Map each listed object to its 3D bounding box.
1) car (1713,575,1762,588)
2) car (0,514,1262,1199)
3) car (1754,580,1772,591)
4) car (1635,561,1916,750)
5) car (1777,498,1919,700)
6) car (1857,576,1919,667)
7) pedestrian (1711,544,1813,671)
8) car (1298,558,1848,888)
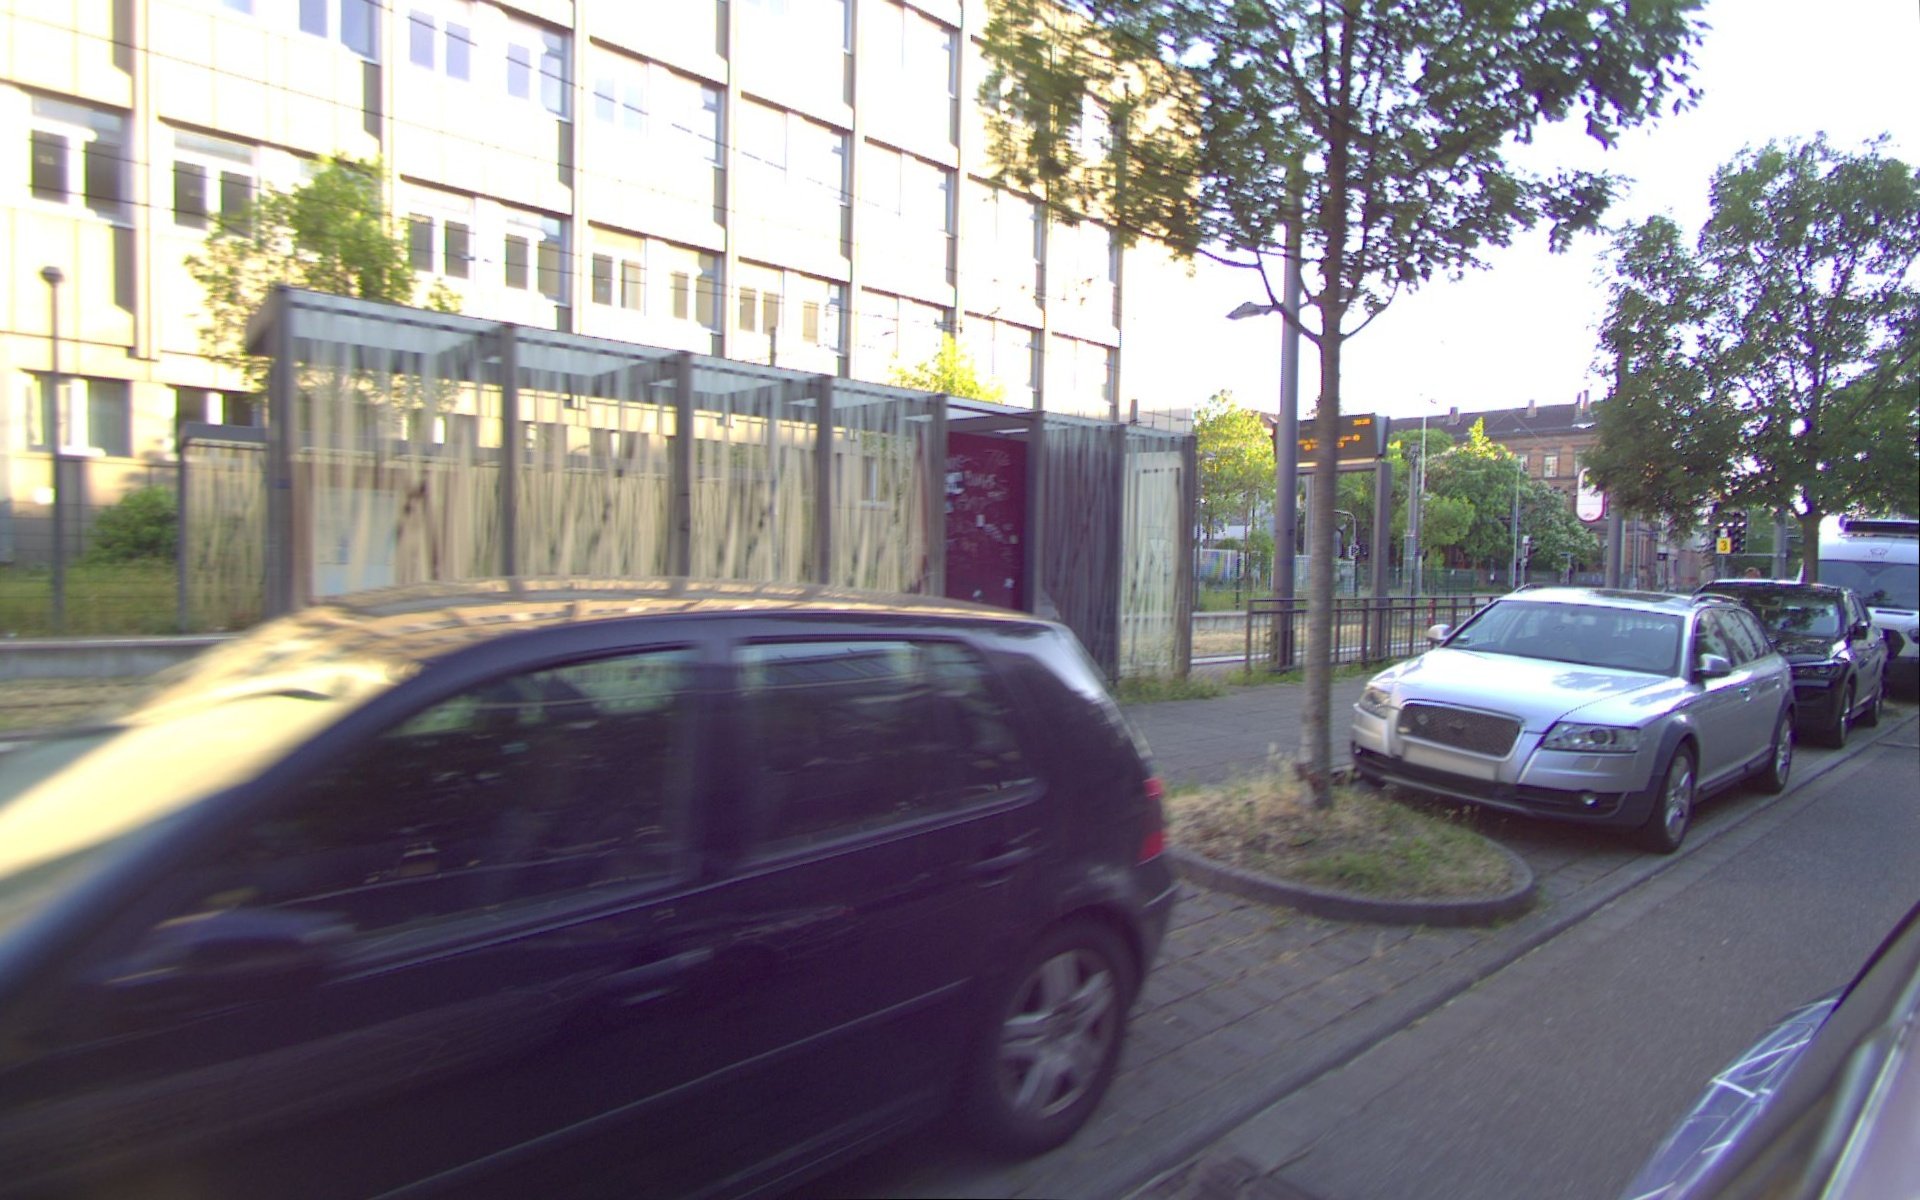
[{"bbox_3d":[96.452,-2.331,125.584,4.681,1.504,1.881,3,3,38],"label":"car"},{"bbox_3d":[-1.154,0.576,2.359,3.931,1.469,1.711,-1,4,-42],"label":"car"},{"bbox_3d":[113.179,-2.043,142.646,1.777,1.475,4.239,3,3,38],"label":"car"},{"bbox_3d":[9.215,0.458,11.313,4.194,1.663,1.711,-1,4,-42],"label":"car"},{"bbox_3d":[14.722,-0.067,15.829,5.342,2.688,2.055,-1,6,-43],"label":"car"},{"bbox_3d":[18.998,0.396,19.789,3.947,1.602,1.751,-1,6,-44],"label":"car"},{"bbox_3d":[13.303,0.103,16.814,0.962,2.038,0.807,1,2,4],"label":"pedestrian"},{"bbox_3d":[4.538,0.563,7.148,4.695,1.513,1.802,0,6,-40],"label":"car"}]
